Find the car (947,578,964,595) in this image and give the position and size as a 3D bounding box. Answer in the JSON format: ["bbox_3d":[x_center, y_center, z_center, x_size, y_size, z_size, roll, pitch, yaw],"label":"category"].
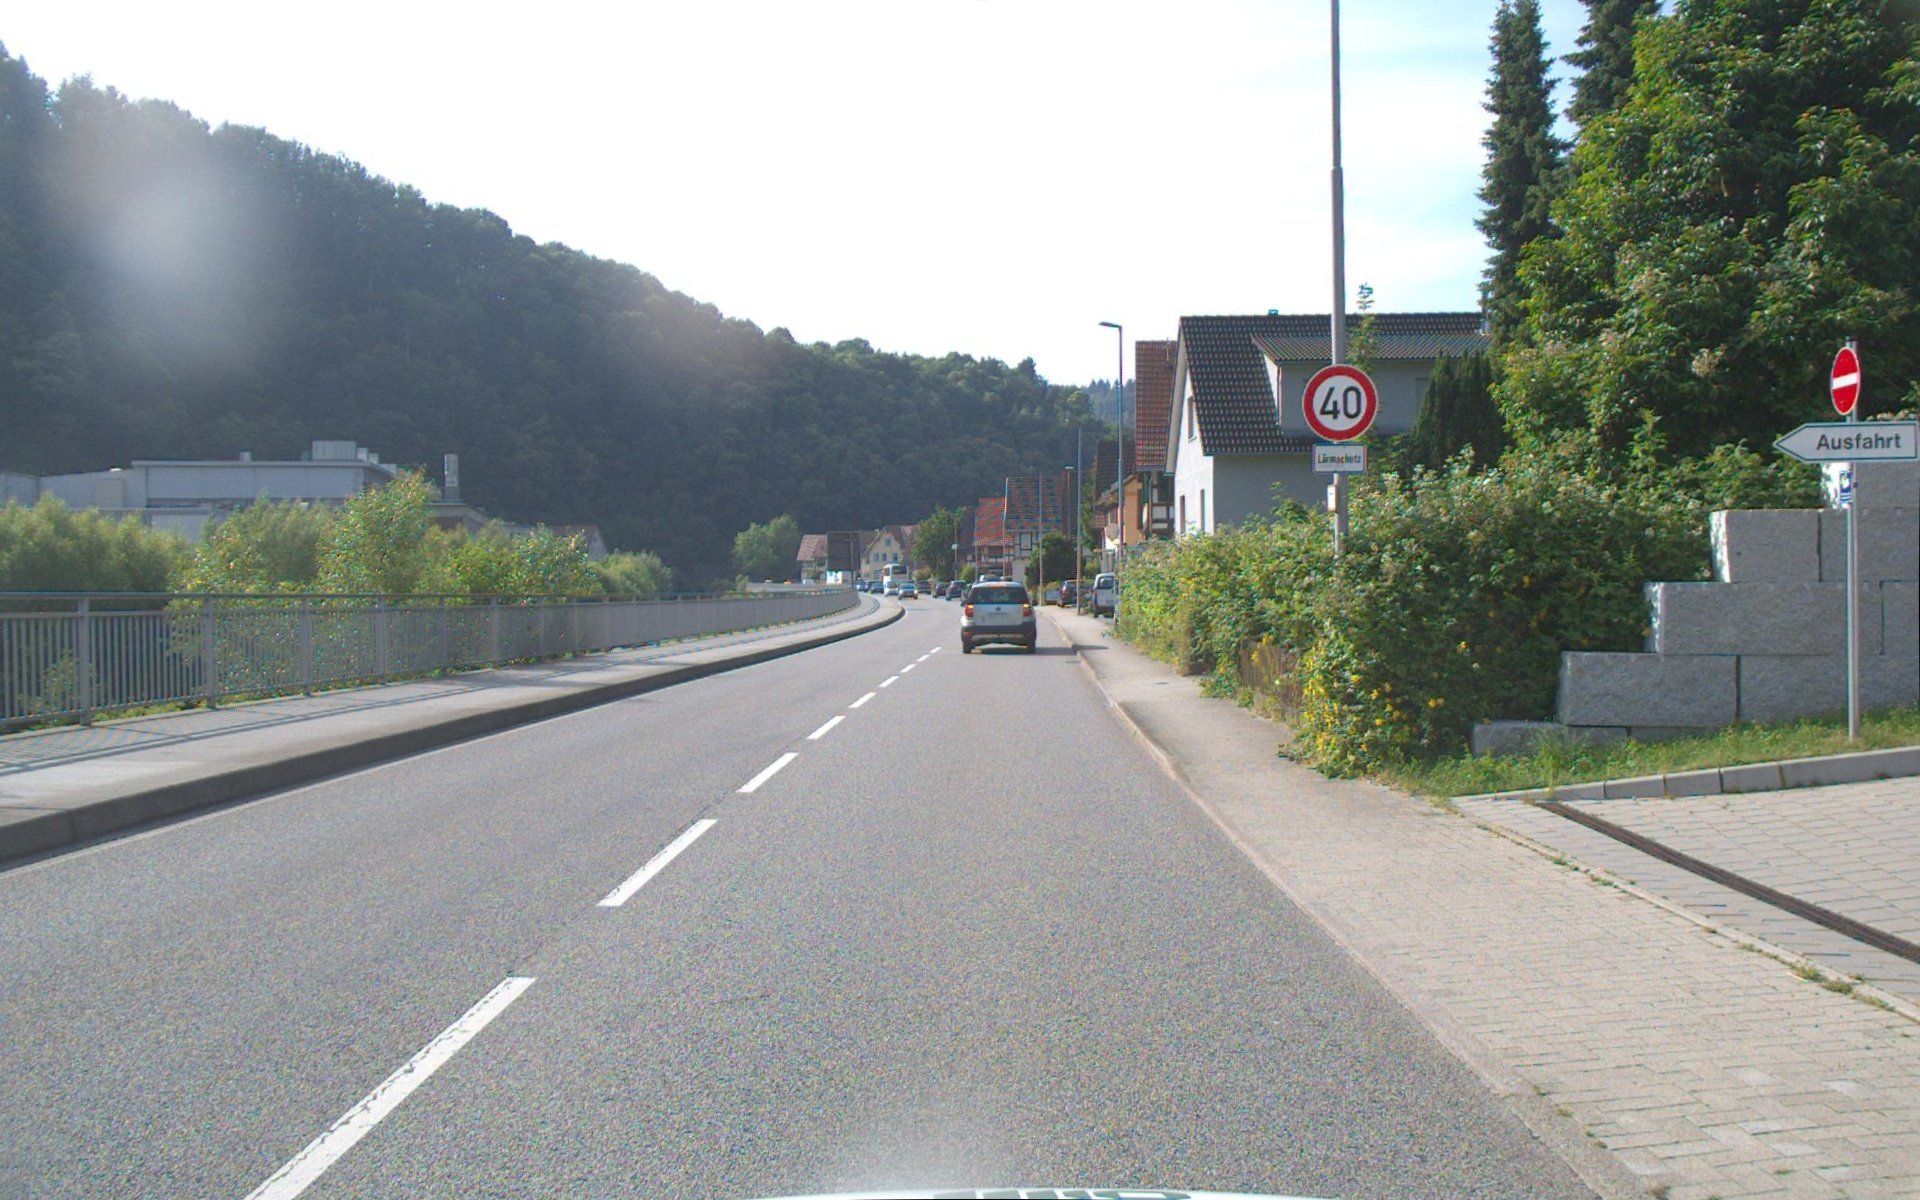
[{"bbox_3d":[-0.378,-1.111,138.111,1.336,1.300,3.082,-1,0,-1],"label":"car"}]

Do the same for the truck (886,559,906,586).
[{"bbox_3d":[-8.513,-3.682,220.038,2.674,3.433,6.476,-1,2,-2],"label":"truck"}]

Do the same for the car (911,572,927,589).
[{"bbox_3d":[-4.638,-2.241,188.327,1.639,1.783,3.449,-1,2,2],"label":"car"}]

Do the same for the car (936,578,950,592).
[{"bbox_3d":[-1.638,-1.402,158.367,1.337,1.300,3.082,-1,0,-1],"label":"car"}]

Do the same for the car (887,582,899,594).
[{"bbox_3d":[-7.425,-1.288,182.629,1.337,1.300,3.081,-1,0,-2],"label":"car"}]

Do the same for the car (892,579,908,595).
[{"bbox_3d":[-5.518,-1.223,151.352,1.405,1.407,3.133,-1,2,-4],"label":"car"}]

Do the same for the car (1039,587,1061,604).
[{"bbox_3d":[5.432,-0.285,99.482,1.269,0.991,2.923,-1,0,3],"label":"car"}]

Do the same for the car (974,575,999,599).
[{"bbox_3d":[1.676,-0.841,106.487,1.577,1.485,3.346,-1,0,0],"label":"car"}]

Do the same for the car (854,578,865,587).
[{"bbox_3d":[-14.557,-2.492,239.359,1.338,1.300,3.078,-1,0,-6],"label":"car"}]

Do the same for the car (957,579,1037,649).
[{"bbox_3d":[0.940,0.307,39.992,1.822,1.571,4.375,-1,0,2],"label":"car"}]

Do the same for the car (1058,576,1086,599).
[{"bbox_3d":[6.214,-0.691,91.543,1.512,1.238,3.279,-1,0,4],"label":"car"}]

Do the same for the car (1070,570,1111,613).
[{"bbox_3d":[5.301,-0.313,66.916,1.576,1.674,3.653,-1,0,6],"label":"car"}]

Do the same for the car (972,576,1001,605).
[{"bbox_3d":[1.480,-0.523,92.125,1.588,1.568,3.278,-1,0,1],"label":"car"}]

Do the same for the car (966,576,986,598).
[{"bbox_3d":[1.167,-0.936,120.421,1.448,1.485,3.083,-1,0,0],"label":"car"}]
